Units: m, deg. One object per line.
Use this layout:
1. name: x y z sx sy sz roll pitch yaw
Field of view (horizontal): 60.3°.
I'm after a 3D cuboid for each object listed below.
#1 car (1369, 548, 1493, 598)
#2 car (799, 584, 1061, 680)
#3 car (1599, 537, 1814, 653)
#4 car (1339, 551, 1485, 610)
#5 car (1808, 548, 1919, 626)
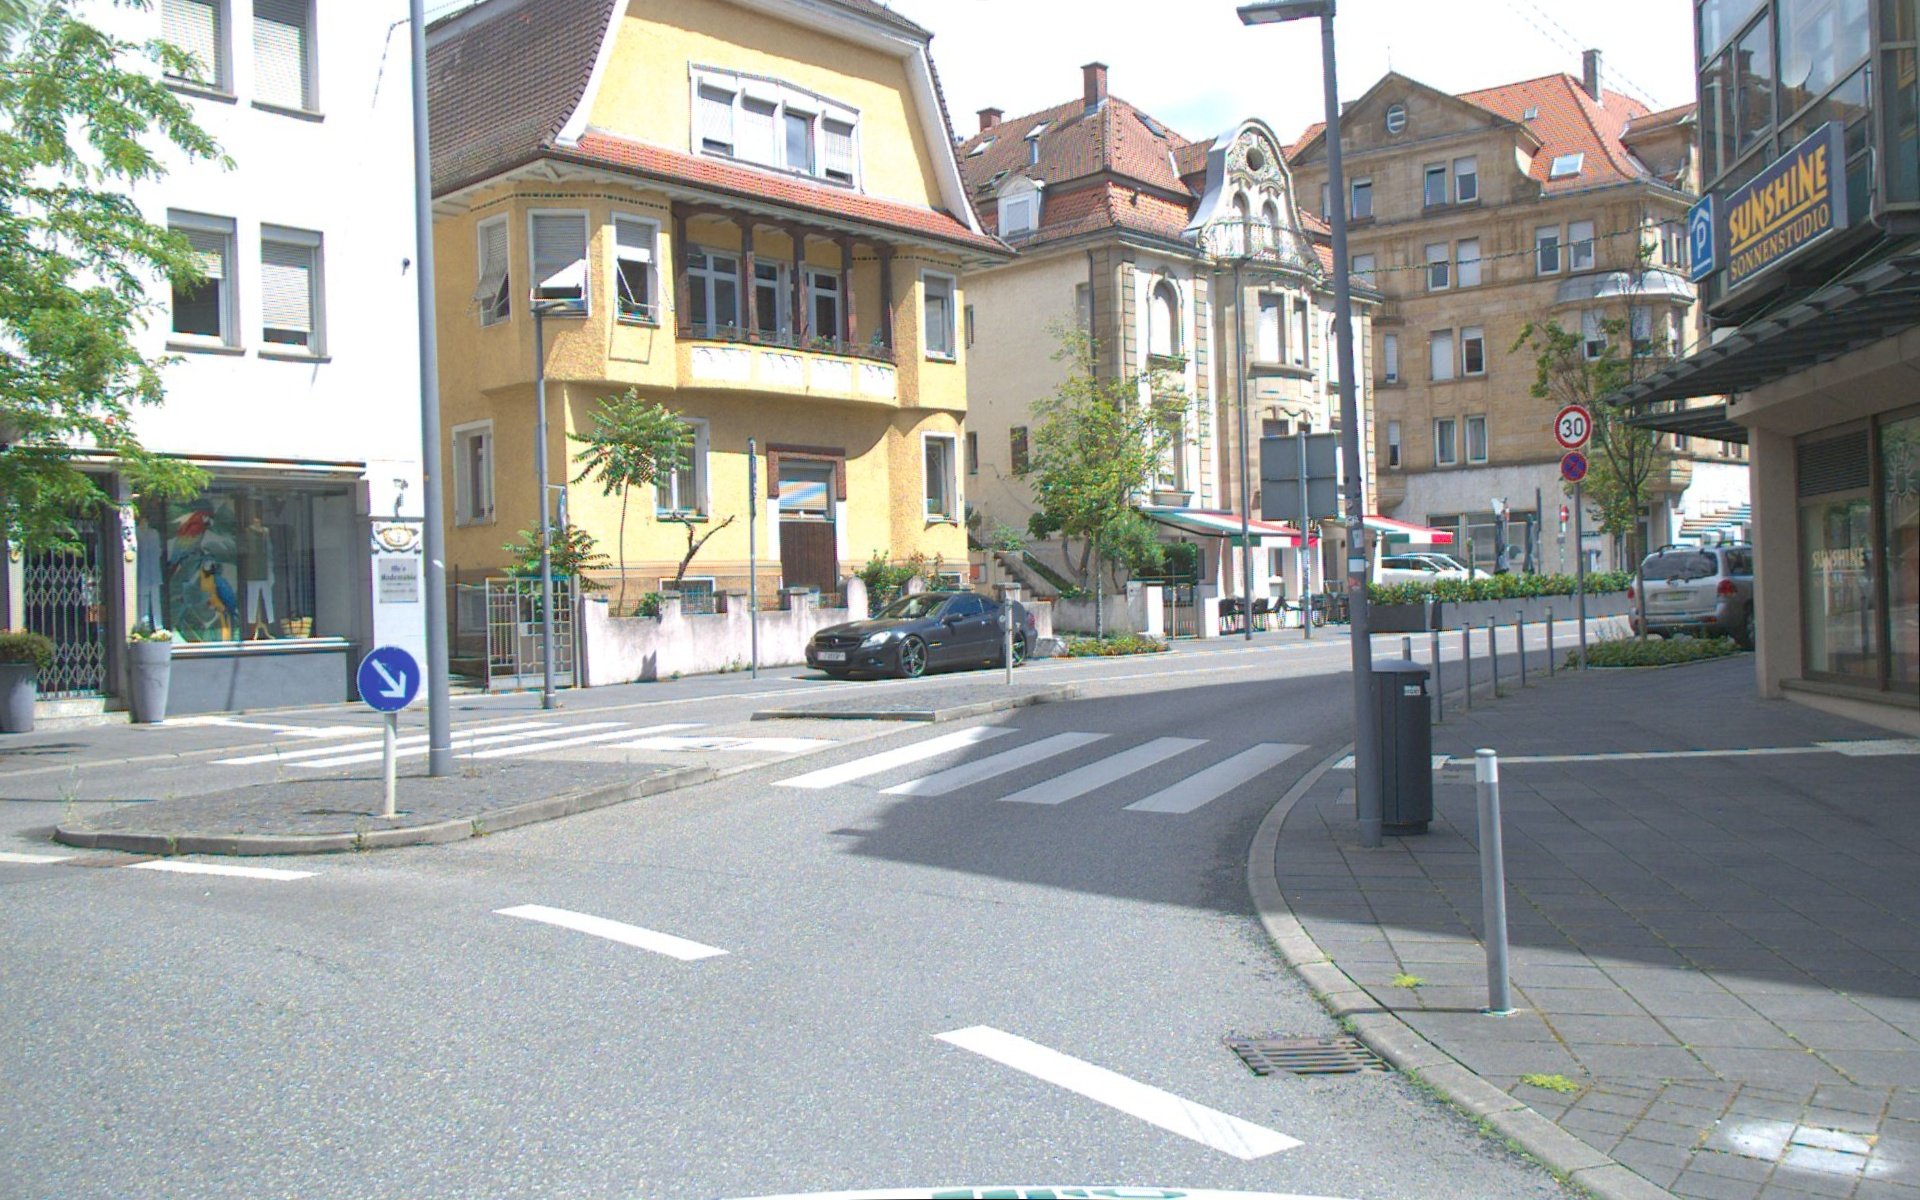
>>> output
1. car: 17.186 -0.986 60.398 3.923 1.691 1.900 -1 1 39
2. car: -0.408 0.463 26.973 1.686 1.266 4.382 2 4 44
3. car: 12.532 -0.112 27.647 4.201 1.761 1.801 -2 -1 -44
4. car: 15.005 -0.641 54.943 4.333 1.806 1.998 -1 1 28
5. car: 20.221 -0.306 36.027 4.201 1.545 1.801 -2 -1 -44
